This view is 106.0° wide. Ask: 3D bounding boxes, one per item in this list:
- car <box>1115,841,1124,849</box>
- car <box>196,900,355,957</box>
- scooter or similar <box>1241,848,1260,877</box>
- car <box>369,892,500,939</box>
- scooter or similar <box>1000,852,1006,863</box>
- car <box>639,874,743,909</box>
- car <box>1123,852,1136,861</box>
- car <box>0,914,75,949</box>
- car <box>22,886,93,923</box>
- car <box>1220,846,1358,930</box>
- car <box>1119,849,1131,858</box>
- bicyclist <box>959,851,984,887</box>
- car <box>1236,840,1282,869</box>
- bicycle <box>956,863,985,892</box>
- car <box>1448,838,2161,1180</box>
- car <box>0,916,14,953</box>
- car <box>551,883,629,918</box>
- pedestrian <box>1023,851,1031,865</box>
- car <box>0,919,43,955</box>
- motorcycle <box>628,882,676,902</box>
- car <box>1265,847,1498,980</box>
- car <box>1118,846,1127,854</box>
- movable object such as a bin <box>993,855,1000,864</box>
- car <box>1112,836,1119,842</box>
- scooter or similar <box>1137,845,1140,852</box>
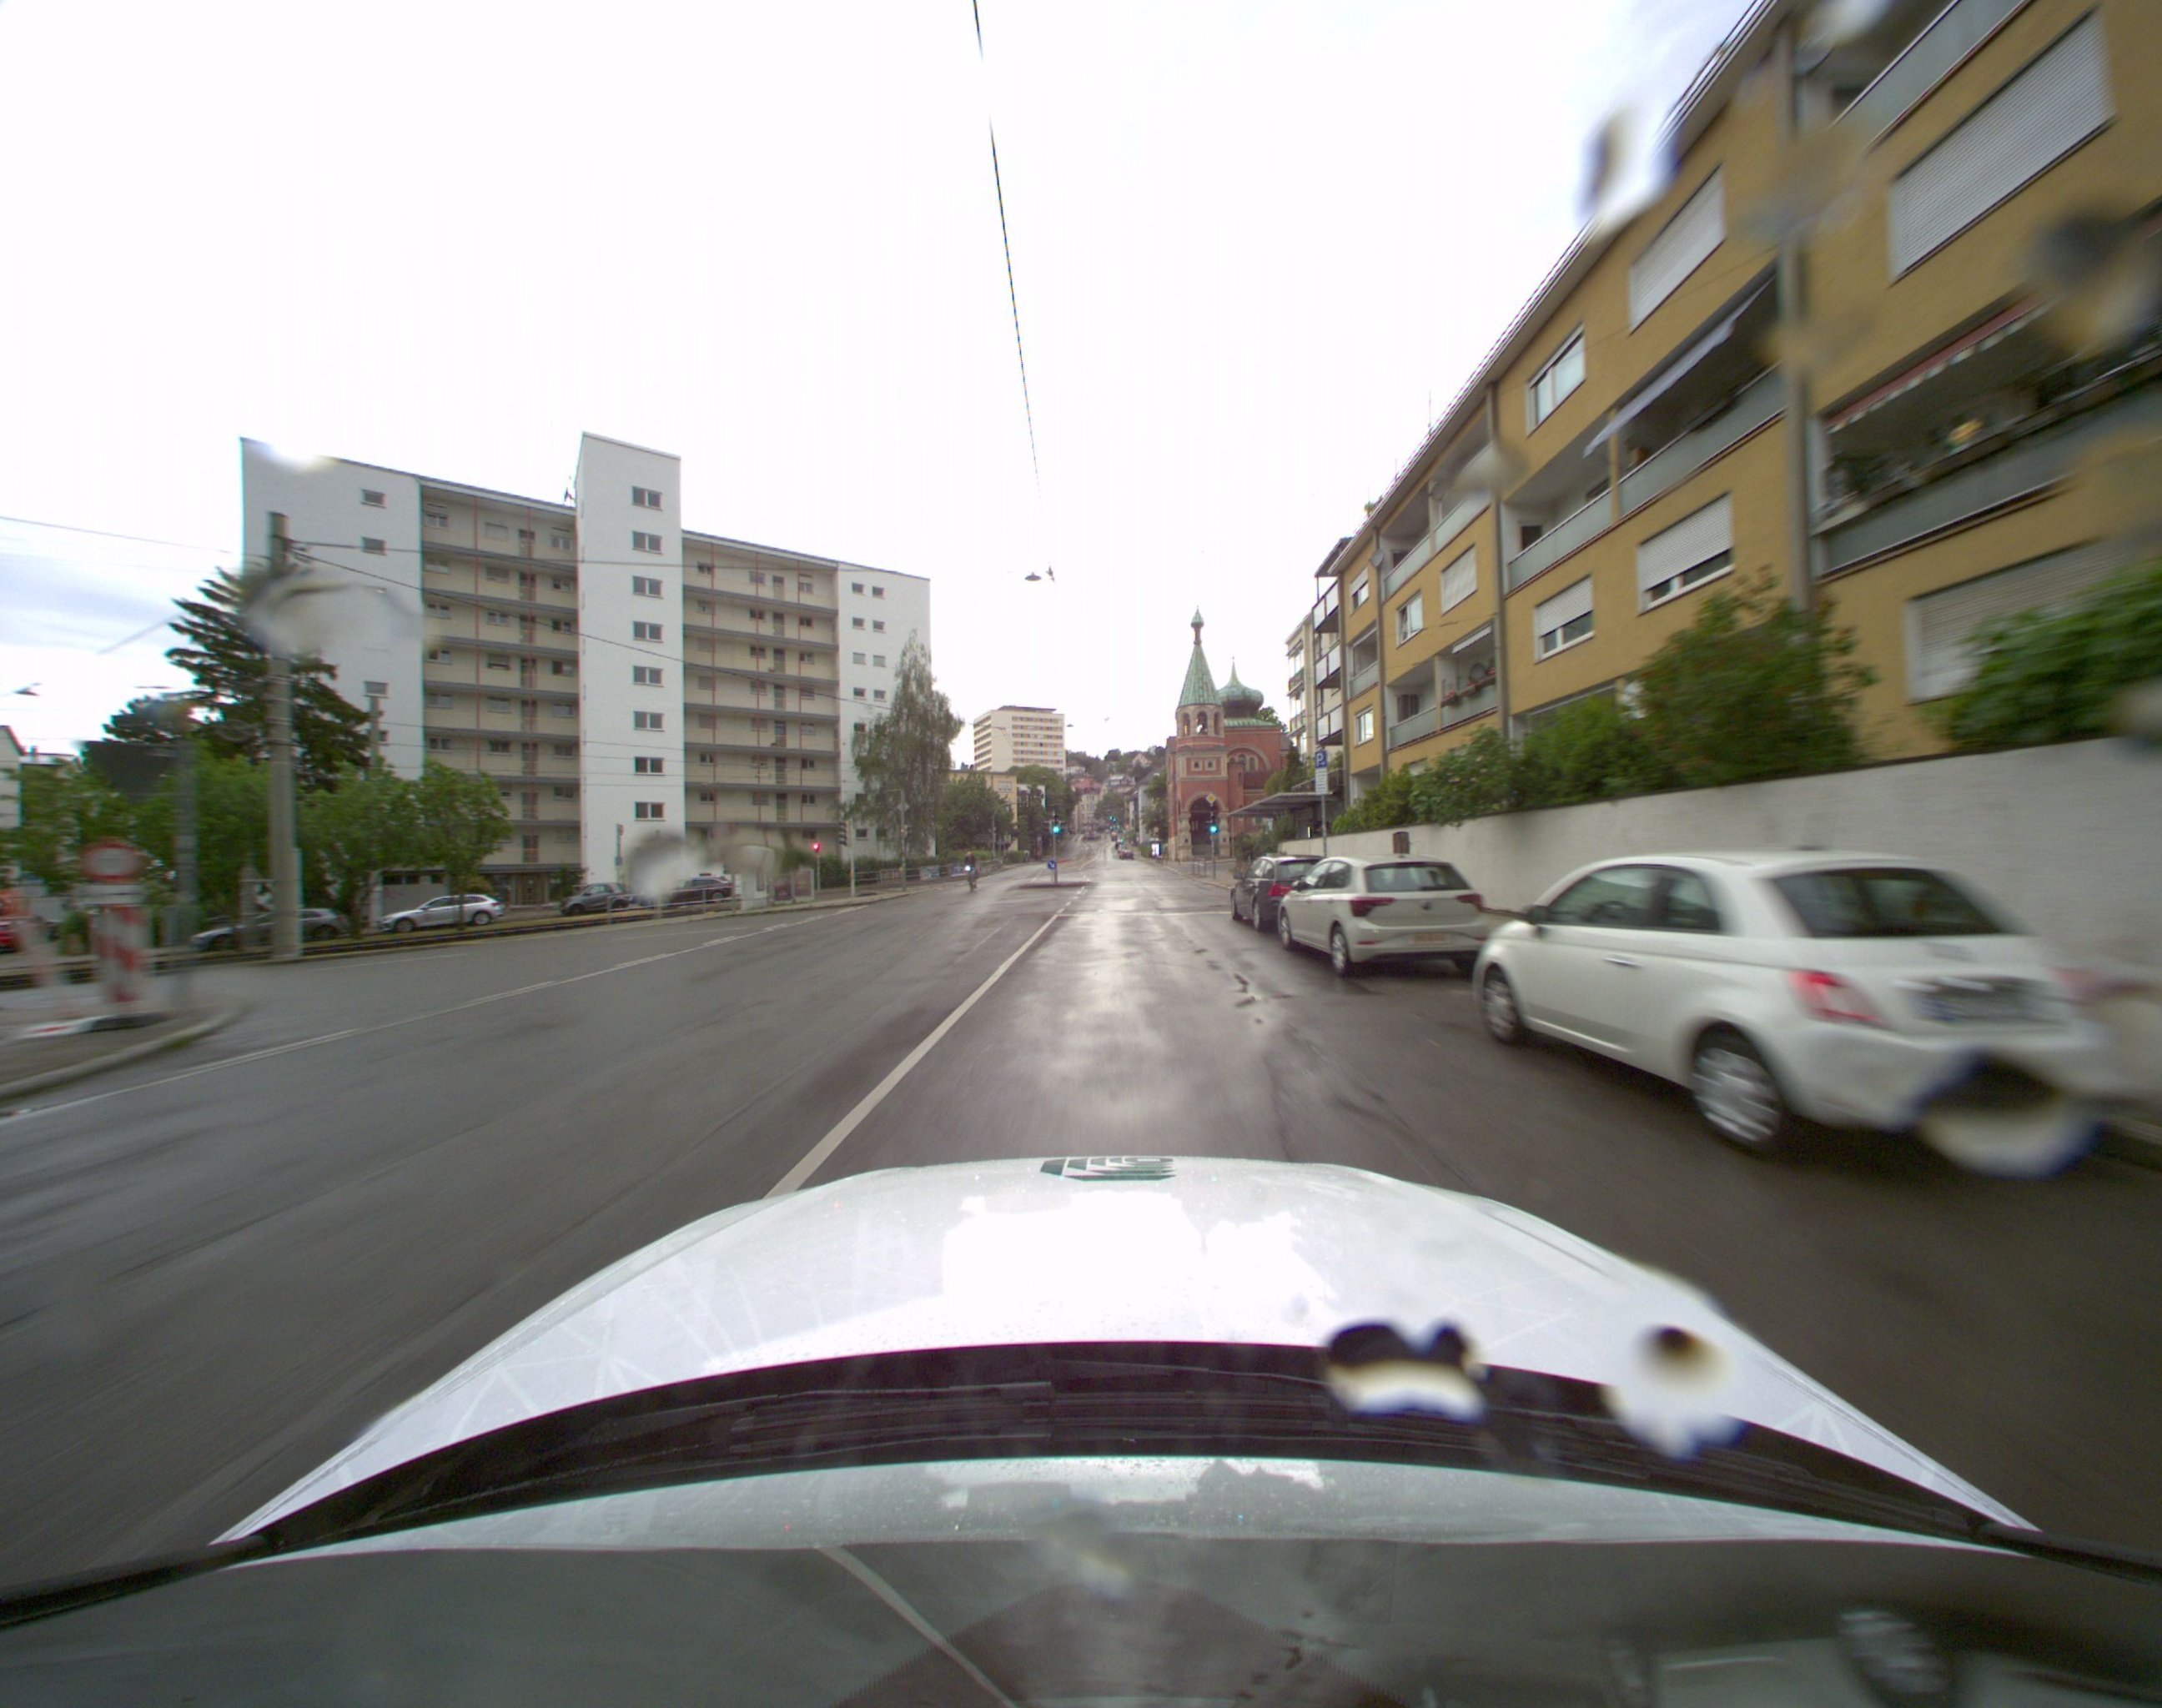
[{"bbox_3d":[8.633,-2.003,181.287,1.900,1.641,4.691,0,2,1],"label":"car"},{"bbox_3d":[-32.042,2.909,32.607,4.337,1.507,1.976,-7,4,-43],"label":"car"},{"bbox_3d":[8.238,0.403,39.561,0.532,1.327,1.660,-6,0,3],"label":"scooter or similar"},{"bbox_3d":[-28.595,2.649,36.111,4.337,1.507,1.976,-5,3,-43],"label":"car"},{"bbox_3d":[-8.537,0.371,89.490,0.571,1.184,1.597,0,-1,-4],"label":"scooter or similar"},{"bbox_3d":[-20.603,1.977,43.138,4.518,1.461,1.851,-4,0,-43],"label":"car"},{"bbox_3d":[7.629,0.385,128.369,1.852,1.487,4.645,-1,0,0],"label":"car"},{"bbox_3d":[-53.952,3.972,42.079,2.011,1.532,3.950,1,-2,-44],"label":"car"},{"bbox_3d":[-58.323,2.827,46.459,2.011,1.899,3.950,1,-2,-44],"label":"car"},{"bbox_3d":[4.019,0.631,16.455,1.724,1.460,4.479,-1,-1,1],"label":"car"},{"bbox_3d":[7.535,-0.067,139.875,1.934,1.464,4.205,0,0,0],"label":"car"},{"bbox_3d":[-4.593,0.637,34.181,0.821,1.462,1.140,-1,-1,2],"label":"bicyclist"},{"bbox_3d":[10.450,0.064,48.067,1.846,1.503,4.451,-4,-2,2],"label":"car"},{"bbox_3d":[-4.591,0.960,34.064,0.821,1.148,2.128,-2,-1,2],"label":"bicycle"},{"bbox_3d":[4.016,0.666,5.326,1.680,1.453,3.555,-1,0,1],"label":"car"},{"bbox_3d":[-45.708,3.387,33.378,1.836,1.443,3.950,1,-2,-44],"label":"car"},{"bbox_3d":[-24.164,2.269,40.084,2.910,1.392,1.789,-5,2,-43],"label":"car"},{"bbox_3d":[-7.032,0.570,105.953,0.916,1.846,1.016,0,-1,-3],"label":"pedestrian"},{"bbox_3d":[-49.967,3.826,37.674,1.886,1.442,3.950,1,-2,-44],"label":"car"},{"bbox_3d":[-24.125,2.149,45.795,2.248,0.940,0.769,-3,3,-41],"label":"motorcycle"},{"bbox_3d":[3.816,0.695,11.120,1.642,1.460,4.101,-1,-1,0],"label":"car"},{"bbox_3d":[8.427,-0.835,164.884,1.699,1.433,4.103,0,2,1],"label":"car"},{"bbox_3d":[-9.062,0.588,87.553,0.685,0.882,0.759,0,-1,-4],"label":"movable object such as a bin"},{"bbox_3d":[9.515,-4.025,225.456,1.794,1.645,4.004,0,1,4],"label":"car"},{"bbox_3d":[11.754,-1.144,165.457,0.571,1.249,1.614,-1,5,7],"label":"scooter or similar"}]
